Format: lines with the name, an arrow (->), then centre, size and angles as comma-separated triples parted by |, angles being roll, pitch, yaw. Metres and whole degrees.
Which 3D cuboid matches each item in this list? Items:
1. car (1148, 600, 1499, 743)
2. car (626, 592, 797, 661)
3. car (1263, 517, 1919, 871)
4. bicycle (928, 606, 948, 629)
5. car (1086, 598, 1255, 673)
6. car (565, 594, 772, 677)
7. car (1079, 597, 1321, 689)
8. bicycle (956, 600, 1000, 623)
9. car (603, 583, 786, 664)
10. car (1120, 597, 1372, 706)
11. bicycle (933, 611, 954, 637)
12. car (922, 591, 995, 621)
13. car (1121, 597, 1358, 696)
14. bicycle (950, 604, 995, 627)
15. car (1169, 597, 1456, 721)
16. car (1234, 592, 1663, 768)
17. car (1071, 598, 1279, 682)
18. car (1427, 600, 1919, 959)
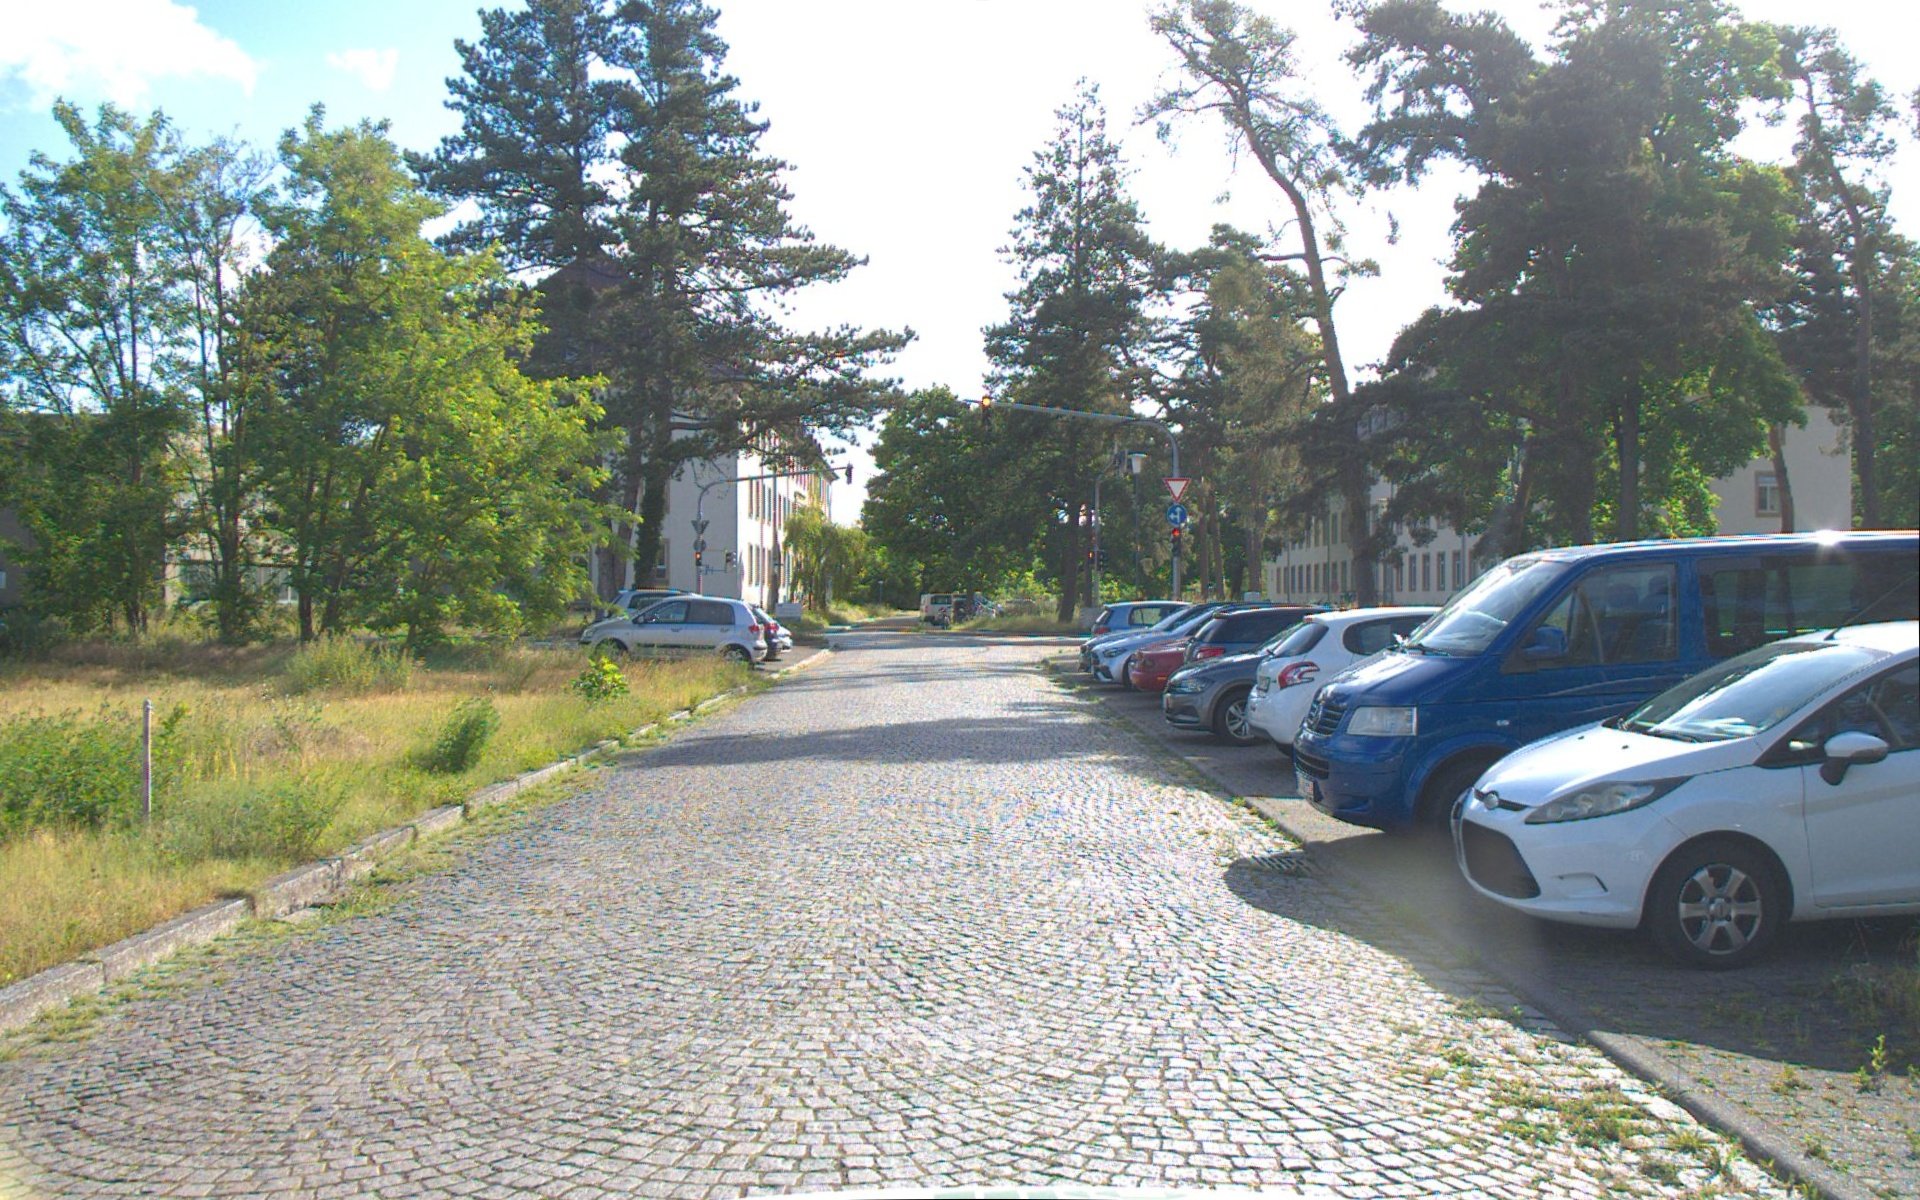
car -> 4.059, 0.775, 18.830 | 3.601, 1.493, 1.645 | -1, 0, -2
car -> -6.146, 0.636, 41.247 | 3.906, 1.478, 2.000 | 3, 0, -1
car -> 4.481, 0.538, 10.773 | 4.584, 2.049, 2.082 | 0, 0, -4
bicycle -> -1.127, 0.889, 82.743 | 0.789, 1.119, 2.177 | 1, 0, -7
car -> 4.336, 0.712, 34.397 | 3.276, 1.508, 1.645 | 0, 0, -2
car -> -5.835, 0.692, 33.461 | 3.908, 1.628, 1.999 | 0, 0, -4
car -> 4.162, 0.723, 28.982 | 3.955, 1.556, 1.644 | 0, 0, -5
bicycle -> 0.893, 0.581, 84.396 | 2.134, 1.119, 0.805 | 1, 0, -11
car -> -6.182, 0.536, 38.846 | 3.907, 1.629, 1.999 | 3, 0, -1
car -> 4.168, 0.731, 24.443 | 3.408, 1.556, 1.645 | 0, 0, -2
bicycle -> -0.801, 1.145, 79.847 | 0.789, 1.190, 2.177 | -2, 0, -7
car -> -0.097, 0.356, 100.793 | 4.390, 1.758, 1.999 | 1, 0, -2
car -> 4.473, 0.727, 26.805 | 3.530, 1.556, 1.645 | 0, 0, -2
bicycle -> 0.626, 0.770, 83.331 | 2.134, 1.119, 0.805 | 1, 0, -11
car -> 4.577, 0.739, 21.757 | 3.408, 1.556, 1.645 | 0, 0, -2
car -> 4.605, 0.732, 15.951 | 3.618, 1.491, 1.645 | -2, 0, 0
car -> 4.074, 0.741, 31.752 | 3.758, 1.556, 1.645 | 0, 0, -2
car -> 4.352, 0.771, 8.091 | 3.645, 1.514, 1.644 | -1, 0, -3
